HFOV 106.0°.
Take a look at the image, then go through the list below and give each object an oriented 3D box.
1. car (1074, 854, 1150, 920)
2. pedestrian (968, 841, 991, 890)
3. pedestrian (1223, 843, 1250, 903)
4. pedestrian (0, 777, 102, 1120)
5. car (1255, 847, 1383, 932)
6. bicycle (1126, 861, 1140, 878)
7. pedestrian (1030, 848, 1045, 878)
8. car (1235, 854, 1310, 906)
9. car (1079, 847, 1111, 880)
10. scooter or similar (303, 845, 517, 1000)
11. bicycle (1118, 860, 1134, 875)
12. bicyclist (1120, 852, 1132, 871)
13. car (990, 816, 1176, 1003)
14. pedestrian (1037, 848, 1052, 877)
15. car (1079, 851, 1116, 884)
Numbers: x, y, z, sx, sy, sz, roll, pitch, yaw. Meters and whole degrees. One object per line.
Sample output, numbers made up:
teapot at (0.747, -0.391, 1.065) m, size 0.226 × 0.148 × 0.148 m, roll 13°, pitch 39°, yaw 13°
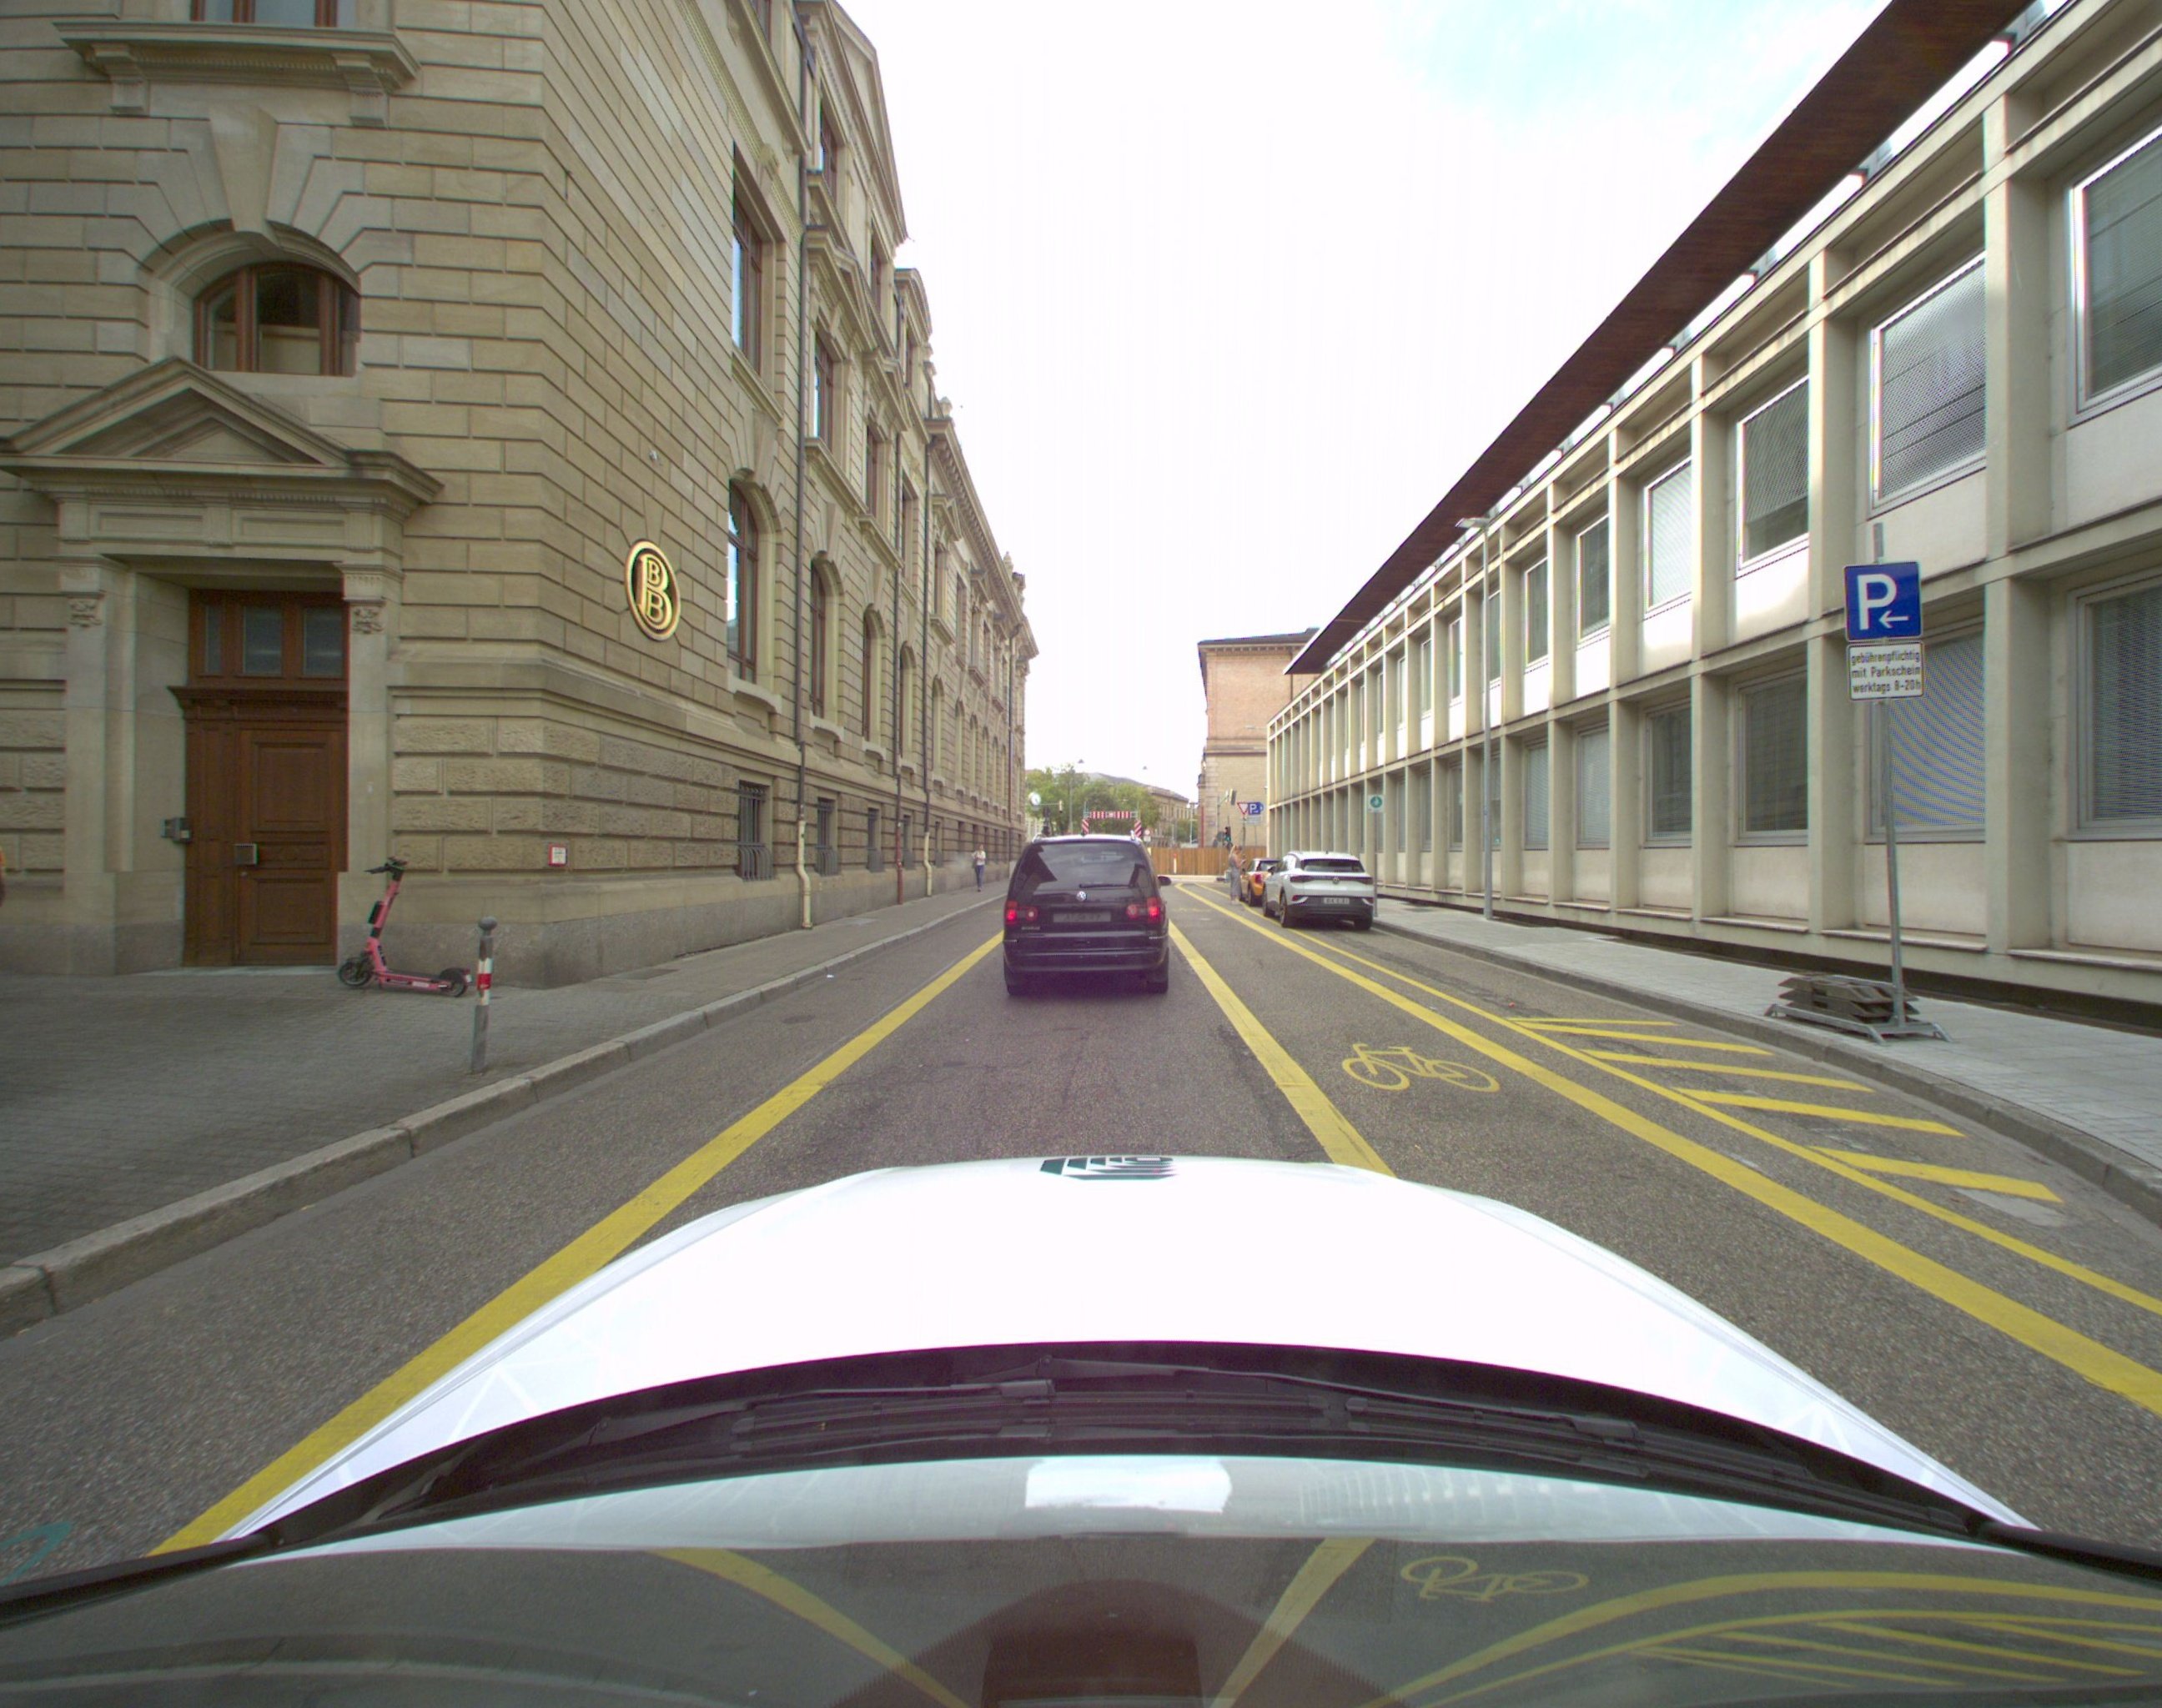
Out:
car at (0.862, 0.742, 20.084) m, size 1.670 × 1.469 × 4.108 m, roll 0°, pitch 0°, yaw 5°
pedestrian at (-3.875, 0.450, 31.165) m, size 0.661 × 1.819 × 1.048 m, roll 2°, pitch -1°, yaw 2°
pedestrian at (4.686, 0.562, 24.561) m, size 0.695 × 1.764 × 0.706 m, roll 0°, pitch -1°, yaw 2°
pedestrian at (-5.905, 0.457, 4.036) m, size 1.022 × 1.720 × 0.819 m, roll 2°, pitch -1°, yaw 1°
car at (5.231, 0.717, 18.506) m, size 1.851 × 1.605 × 4.518 m, roll 3°, pitch 0°, yaw 5°
bicycle at (3.099, 0.923, 48.543) m, size 0.732 × 1.009 × 2.069 m, roll 0°, pitch -1°, yaw 2°
pedestrian at (-2.633, 0.539, 49.762) m, size 0.789 × 1.819 × 1.048 m, roll 2°, pitch -1°, yaw 2°
car at (5.794, 0.753, 25.013) m, size 1.672 × 1.435 × 3.891 m, roll 1°, pitch 0°, yaw 5°
car at (0.793, 0.541, 47.397) m, size 1.729 × 1.790 × 4.101 m, roll 0°, pitch 0°, yaw -1°
scooter or similar at (-6.182, 0.609, 7.549) m, size 1.441 × 1.310 × 0.587 m, roll 3°, pitch 1°, yaw 0°
bicycle at (3.162, 0.953, 57.465) m, size 0.735 × 1.009 × 2.062 m, roll 0°, pitch -1°, yaw -9°
bicyclist at (3.163, 0.533, 57.450) m, size 0.735 × 1.375 × 0.829 m, roll 0°, pitch -1°, yaw -9°
car at (0.180, 0.566, 10.016) m, size 1.781 × 1.790 × 4.108 m, roll -1°, pitch -1°, yaw 5°
pedestrian at (-2.364, 0.543, 52.827) m, size 0.789 × 1.819 × 1.048 m, roll 2°, pitch -1°, yaw 2°
car at (0.840, 0.652, 40.378) m, size 1.766 × 1.586 × 4.001 m, roll 0°, pitch -1°, yaw 2°
